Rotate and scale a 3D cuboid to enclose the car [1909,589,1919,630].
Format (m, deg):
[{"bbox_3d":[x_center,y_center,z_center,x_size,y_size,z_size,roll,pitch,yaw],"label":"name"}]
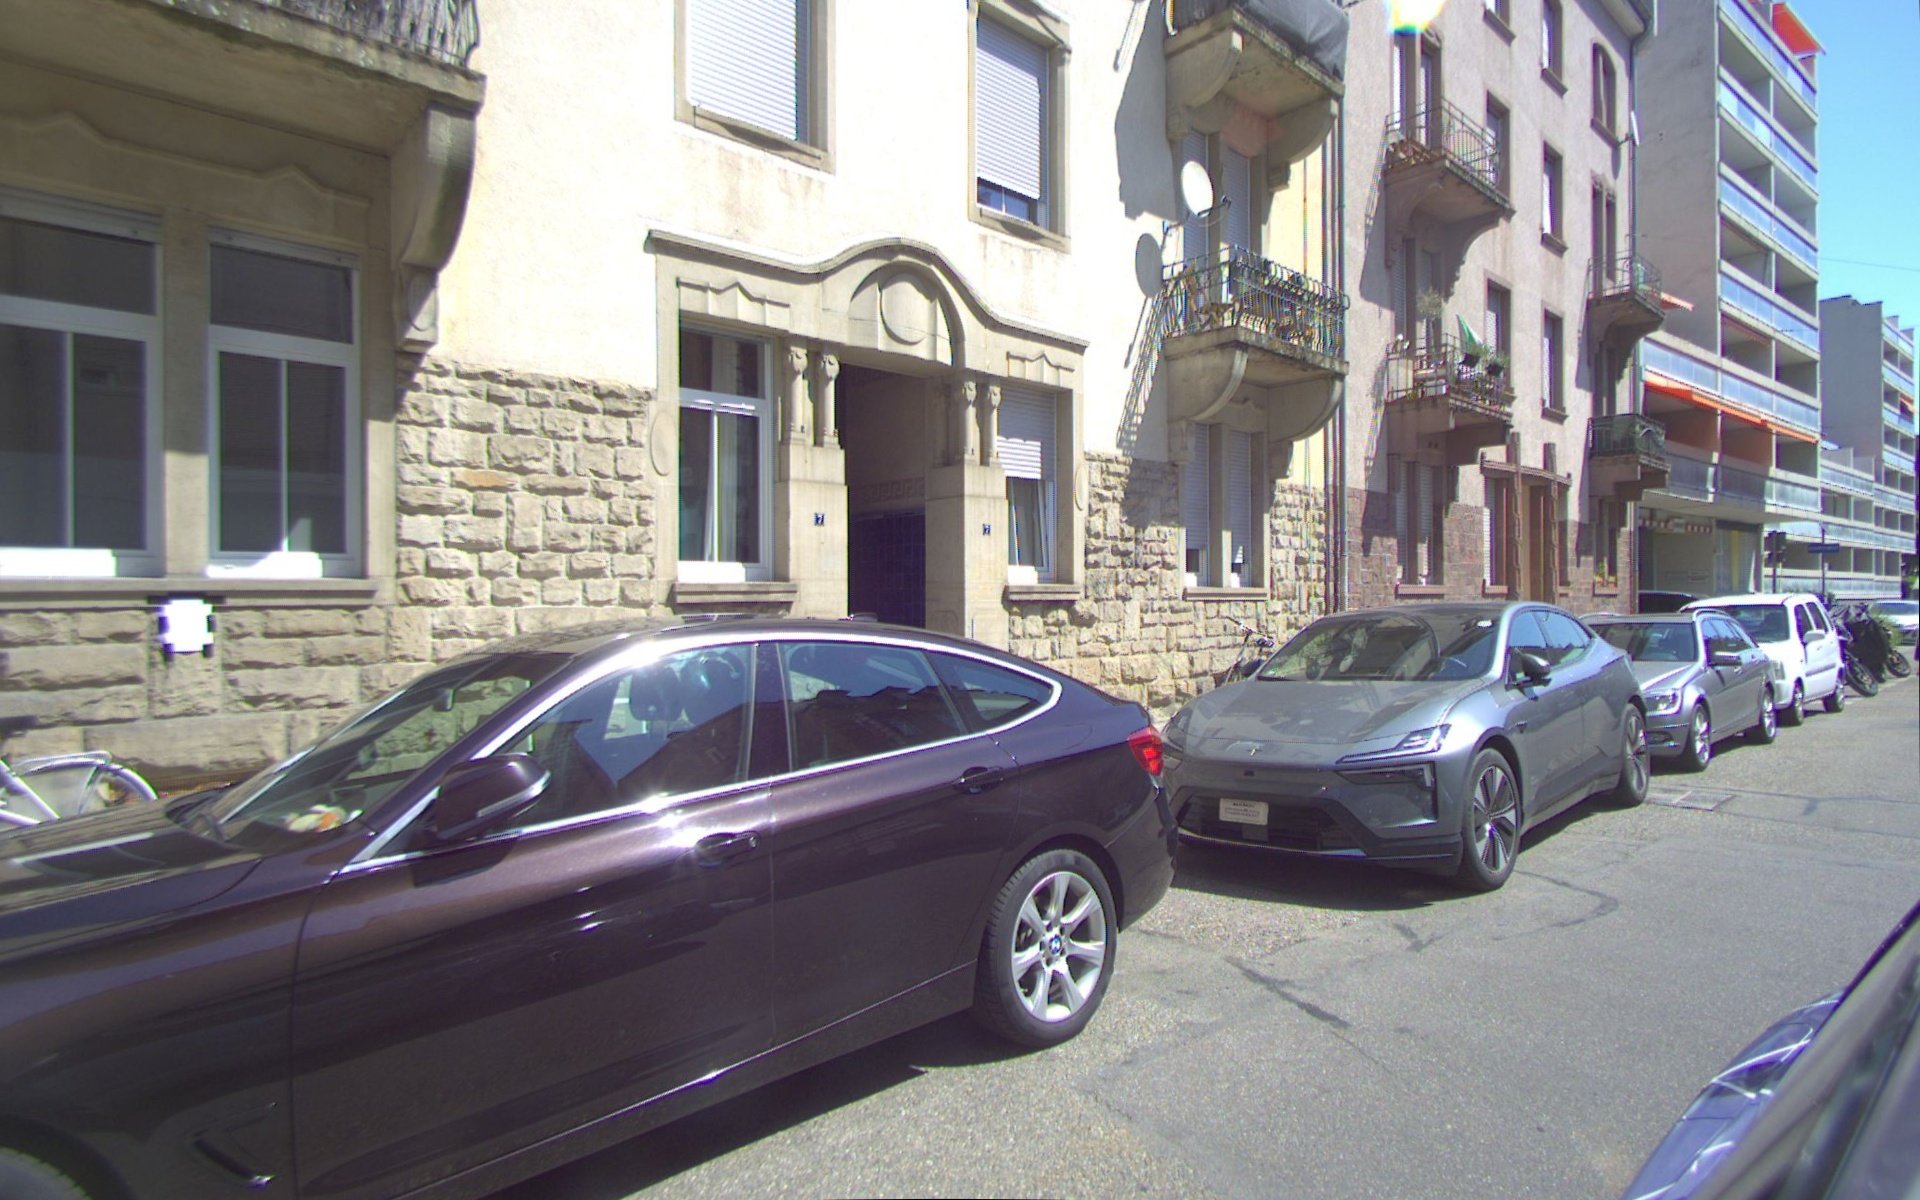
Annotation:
[{"bbox_3d":[39.716,0.366,40.811,3.930,1.571,1.716,-1,1,-41],"label":"car"}]

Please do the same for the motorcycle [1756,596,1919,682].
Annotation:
[{"bbox_3d":[16.275,0.721,18.803,2.158,1.448,0.732,-3,-2,9],"label":"motorcycle"}]

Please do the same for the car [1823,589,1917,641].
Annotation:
[{"bbox_3d":[28.511,0.421,31.669,3.835,1.512,1.752,-1,1,-41],"label":"car"}]

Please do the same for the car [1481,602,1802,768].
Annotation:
[{"bbox_3d":[7.289,0.723,10.654,4.276,1.375,1.789,0,0,-41],"label":"car"}]

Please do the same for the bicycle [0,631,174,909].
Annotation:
[{"bbox_3d":[-4.913,0.806,4.606,2.088,1.204,0.641,-1,4,-41],"label":"bicycle"}]

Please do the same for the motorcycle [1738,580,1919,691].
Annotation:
[{"bbox_3d":[14.132,0.581,16.437,2.157,1.643,0.764,-3,-3,9],"label":"motorcycle"}]

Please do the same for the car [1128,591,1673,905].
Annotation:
[{"bbox_3d":[3.222,0.683,6.878,4.414,1.450,1.825,0,-1,-44],"label":"car"}]

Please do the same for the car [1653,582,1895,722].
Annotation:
[{"bbox_3d":[11.140,0.580,13.768,4.016,1.642,1.652,-1,1,-37],"label":"car"}]

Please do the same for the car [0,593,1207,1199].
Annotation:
[{"bbox_3d":[-1.302,0.740,3.159,4.588,1.476,1.739,-1,1,-42],"label":"car"}]

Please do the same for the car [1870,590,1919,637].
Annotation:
[{"bbox_3d":[32.456,0.421,34.444,3.835,1.512,1.752,-1,1,-41],"label":"car"}]

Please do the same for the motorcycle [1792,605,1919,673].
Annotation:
[{"bbox_3d":[18.137,0.778,20.160,2.287,1.216,0.675,-4,-3,9],"label":"motorcycle"}]
